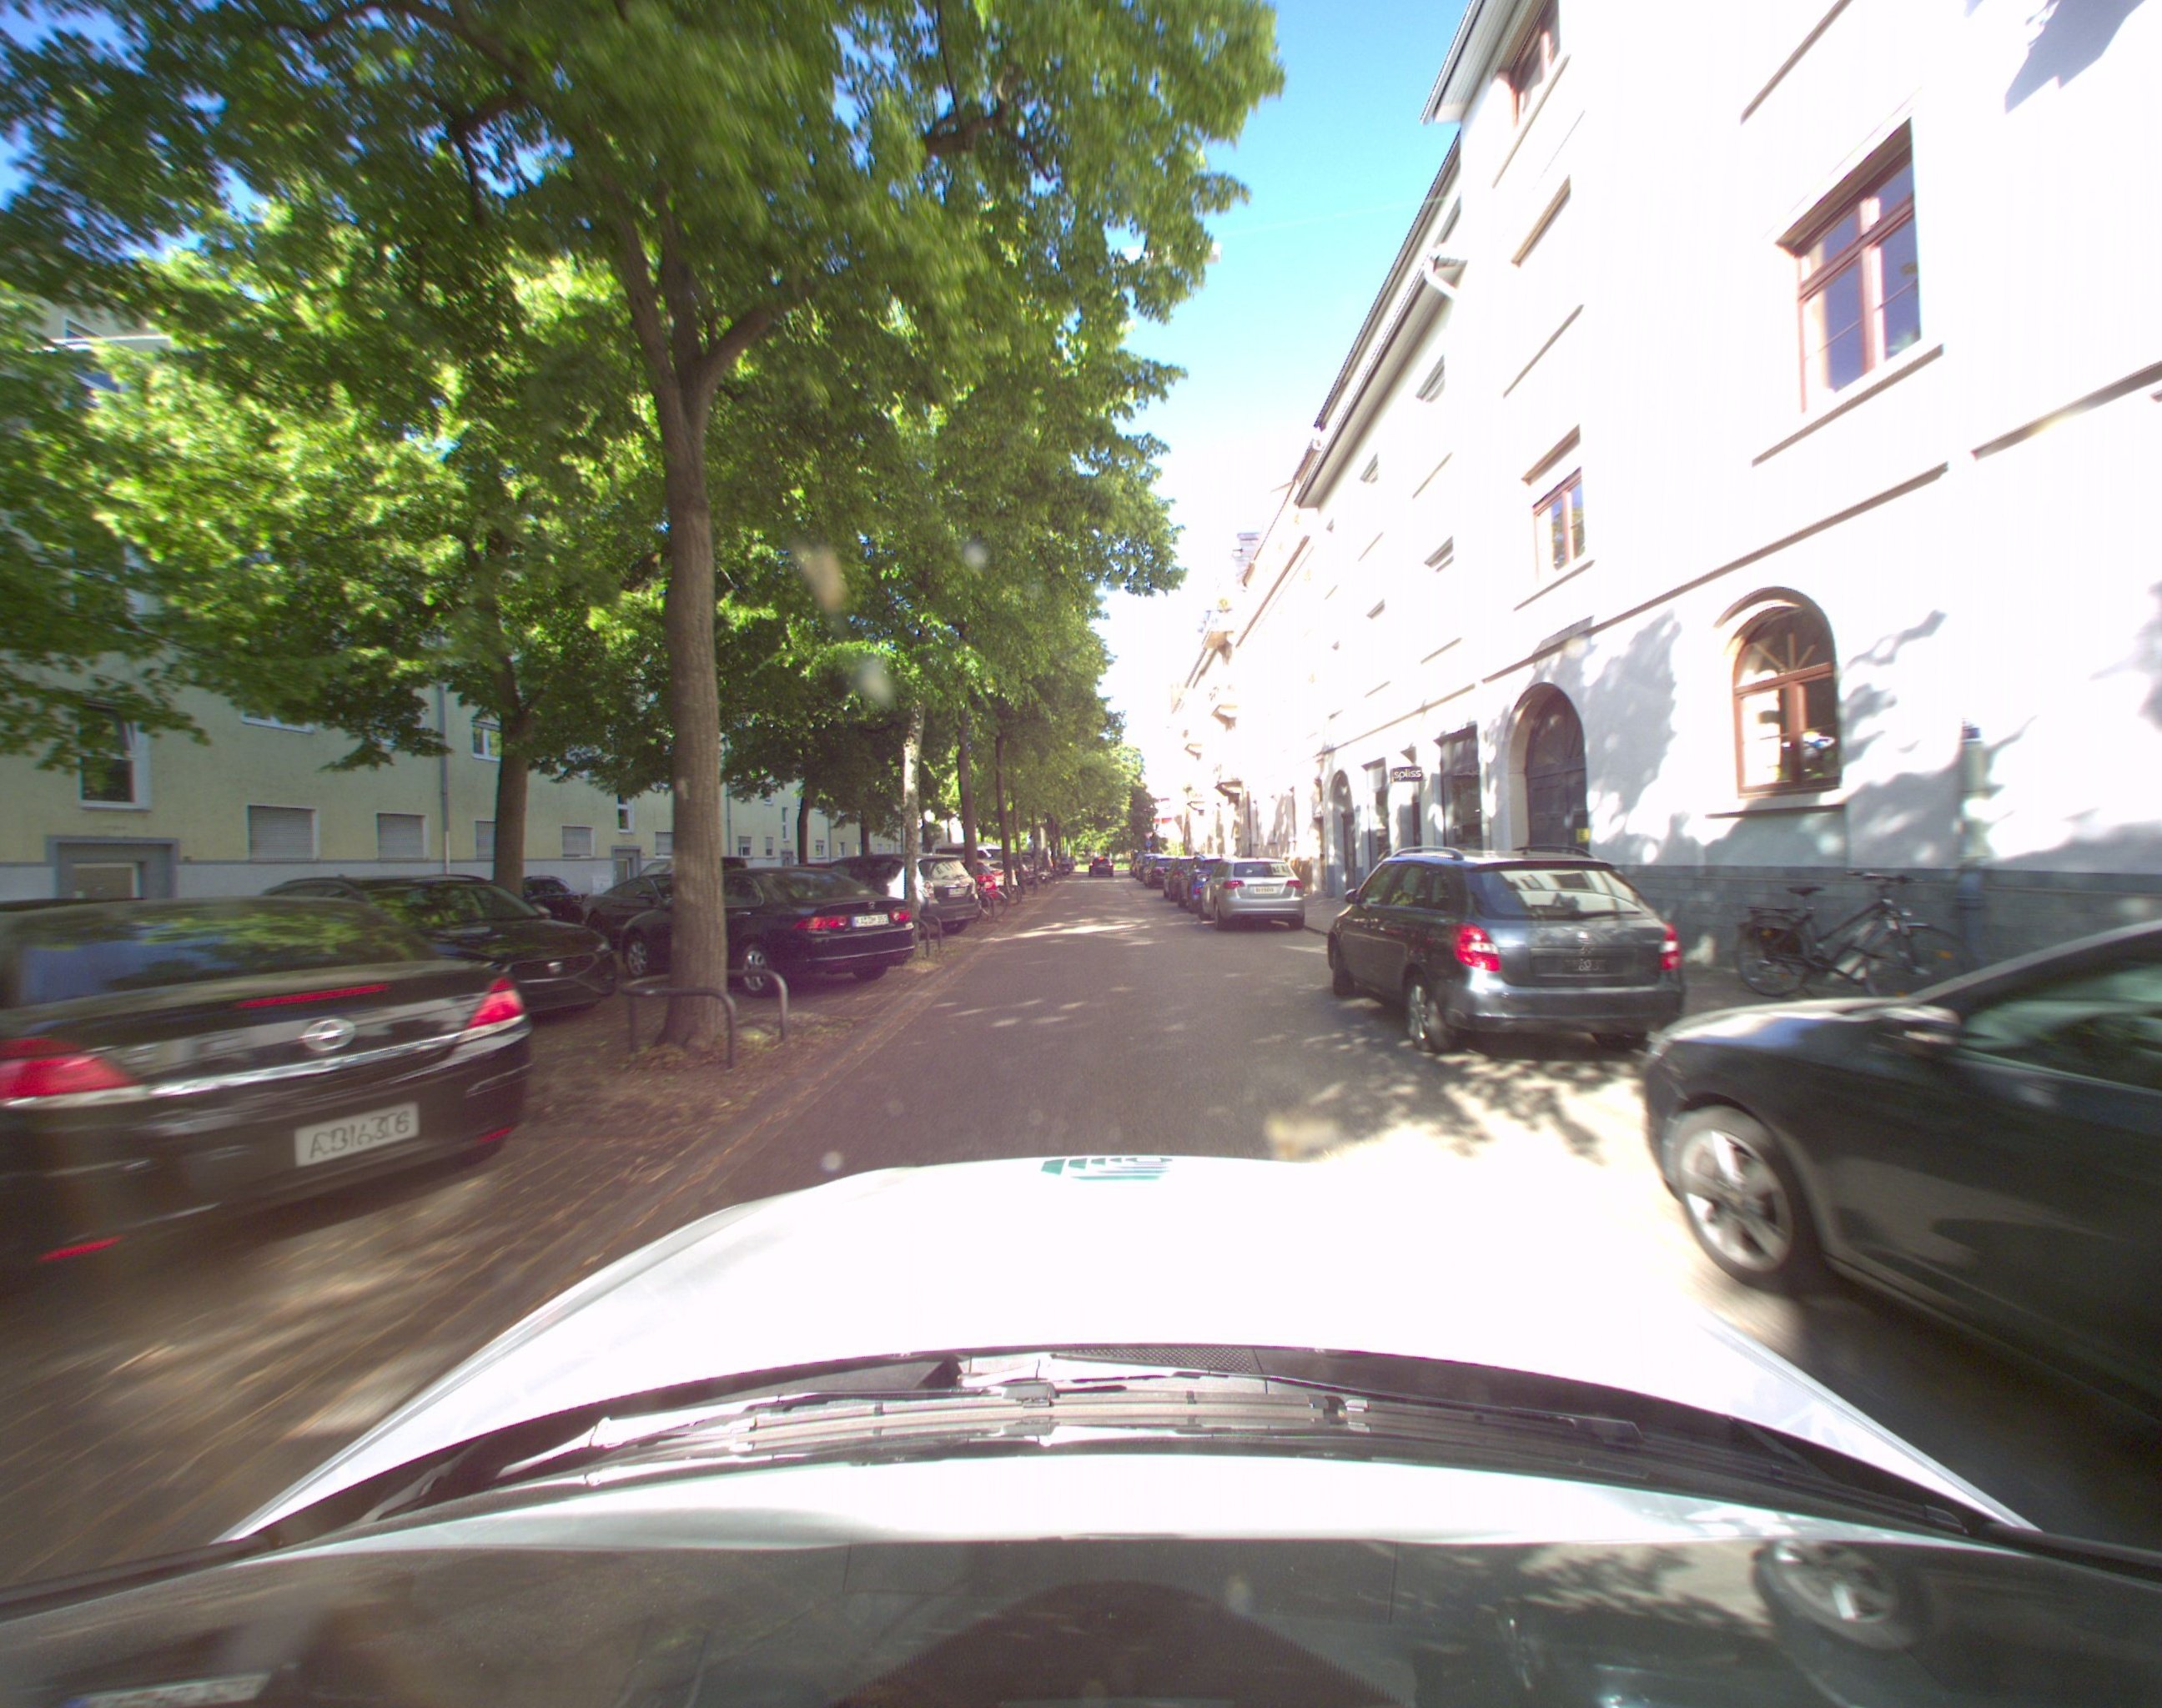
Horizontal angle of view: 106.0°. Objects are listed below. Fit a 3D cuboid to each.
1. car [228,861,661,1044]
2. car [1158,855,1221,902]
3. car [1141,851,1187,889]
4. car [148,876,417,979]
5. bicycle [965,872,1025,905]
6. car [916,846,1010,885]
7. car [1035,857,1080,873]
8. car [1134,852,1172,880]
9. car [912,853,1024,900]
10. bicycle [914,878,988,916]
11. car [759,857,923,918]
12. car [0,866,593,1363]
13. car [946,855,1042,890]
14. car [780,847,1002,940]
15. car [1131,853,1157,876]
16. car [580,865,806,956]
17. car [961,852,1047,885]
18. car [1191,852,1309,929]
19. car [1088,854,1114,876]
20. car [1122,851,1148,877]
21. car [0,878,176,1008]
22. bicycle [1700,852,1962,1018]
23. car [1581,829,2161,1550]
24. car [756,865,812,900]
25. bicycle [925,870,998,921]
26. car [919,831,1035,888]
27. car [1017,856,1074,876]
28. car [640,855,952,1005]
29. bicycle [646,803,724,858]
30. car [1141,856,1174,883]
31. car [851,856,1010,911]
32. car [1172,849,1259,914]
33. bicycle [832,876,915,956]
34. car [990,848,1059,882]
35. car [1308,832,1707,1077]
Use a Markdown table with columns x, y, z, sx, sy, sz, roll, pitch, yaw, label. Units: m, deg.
| x | y | z | sx | sy | sz | roll | pitch | yaw | label |
| --- | --- | --- | --- | --- | --- | --- | --- | --- | --- |
| -6.482 | 0.844 | 8.302 | 3.951 | 1.486 | 1.840 | -1 | -1 | 24 | car |
| 3.599 | 0.762 | 27.596 | 1.686 | 1.468 | 4.006 | 0 | 0 | 2 | car |
| 3.753 | 0.697 | 37.438 | 1.798 | 1.563 | 4.324 | -3 | 0 | 3 | car |
| -15.174 | 1.307 | 15.785 | 1.611 | 1.575 | 3.578 | -3 | 0 | -1 | car |
| -2.685 | 1.083 | 25.450 | 1.797 | 0.994 | 0.427 | -2 | -1 | 16 | bicycle |
| -5.915 | 0.585 | 40.713 | 4.338 | 1.777 | 1.911 | -2 | -1 | 29 | car |
| -2.215 | 1.034 | 76.044 | 4.089 | 1.481 | 1.787 | -2 | -2 | 42 | car |
| 4.390 | 0.735 | 50.125 | 1.859 | 1.643 | 4.489 | 0 | 0 | -1 | car |
| -4.125 | 0.792 | 29.697 | 3.648 | 1.596 | 1.783 | -1 | 0 | 26 | car |
| -3.291 | 1.073 | 20.579 | 1.882 | 0.919 | 0.381 | -1 | 0 | 21 | bicycle |
| -6.424 | 0.872 | 21.739 | 4.063 | 1.473 | 1.883 | -1 | 0 | 30 | car |
| -4.447 | 0.822 | 4.154 | 4.103 | 1.425 | 1.726 | -2 | -1 | 33 | car |
| -3.965 | 0.835 | 36.894 | 4.057 | 1.481 | 1.743 | -2 | -1 | 30 | car |
| -3.796 | 0.715 | 16.187 | 4.037 | 1.653 | 1.874 | -1 | 0 | 28 | car |
| 4.511 | 0.759 | 58.541 | 1.639 | 1.537 | 4.001 | 1 | 0 | 1 | car |
| -7.022 | 0.932 | 14.620 | 4.144 | 1.391 | 1.830 | -1 | -1 | 35 | car |
| -4.028 | 0.717 | 42.487 | 4.221 | 1.641 | 1.665 | 0 | 0 | 29 | car |
| 3.482 | 0.694 | 17.542 | 1.763 | 1.431 | 4.292 | -1 | 0 | 2 | car |
| 1.480 | 0.781 | 59.733 | 1.707 | 1.483 | 4.147 | -3 | 0 | 3 | car |
| 4.180 | 0.761 | 63.300 | 1.795 | 1.871 | 4.274 | 2 | 0 | 1 | car |
| -15.343 | 1.269 | 11.314 | 1.470 | 1.676 | 3.600 | -3 | 0 | -1 | car |
| 6.120 | 0.585 | 6.805 | 0.405 | 1.186 | 1.846 | -1 | 0 | -2 | bicycle |
| 3.038 | 0.683 | 1.586 | 1.594 | 1.492 | 3.964 | -2 | 0 | -1 | car |
| -14.639 | 1.379 | 40.271 | 1.470 | 1.559 | 3.184 | -4 | 0 | 0 | car |
| -2.767 | 0.948 | 18.840 | 1.671 | 1.158 | 0.381 | -1 | 0 | 21 | bicycle |
| -6.010 | 0.355 | 47.263 | 6.018 | 2.623 | 2.466 | -6 | -3 | 16 | car |
| -2.675 | 0.893 | 61.263 | 4.091 | 1.466 | 1.859 | 0 | -1 | -12 | car |
| -3.628 | 0.845 | 10.087 | 3.968 | 1.474 | 1.637 | -3 | 0 | 36 | car |
| -9.159 | -0.516 | 18.903 | 0.352 | 1.200 | 1.811 | 0 | 0 | 25 | bicycle |
| 4.079 | 0.797 | 43.706 | 1.583 | 1.415 | 3.634 | 0 | 0 | 3 | car |
| -4.497 | 0.826 | 24.150 | 4.570 | 1.486 | 1.772 | -1 | 0 | 30 | car |
| 3.578 | 0.679 | 22.358 | 1.760 | 1.551 | 4.185 | -2 | 0 | 2 | car |
| -3.260 | 0.947 | 12.933 | 0.424 | 1.130 | 1.686 | -1 | 0 | 18 | bicycle |
| -3.433 | 0.674 | 49.688 | 3.801 | 1.888 | 1.856 | -2 | 0 | 34 | car |
| 3.305 | 0.654 | 7.267 | 1.574 | 1.551 | 4.044 | -1 | 0 | 3 | car |
